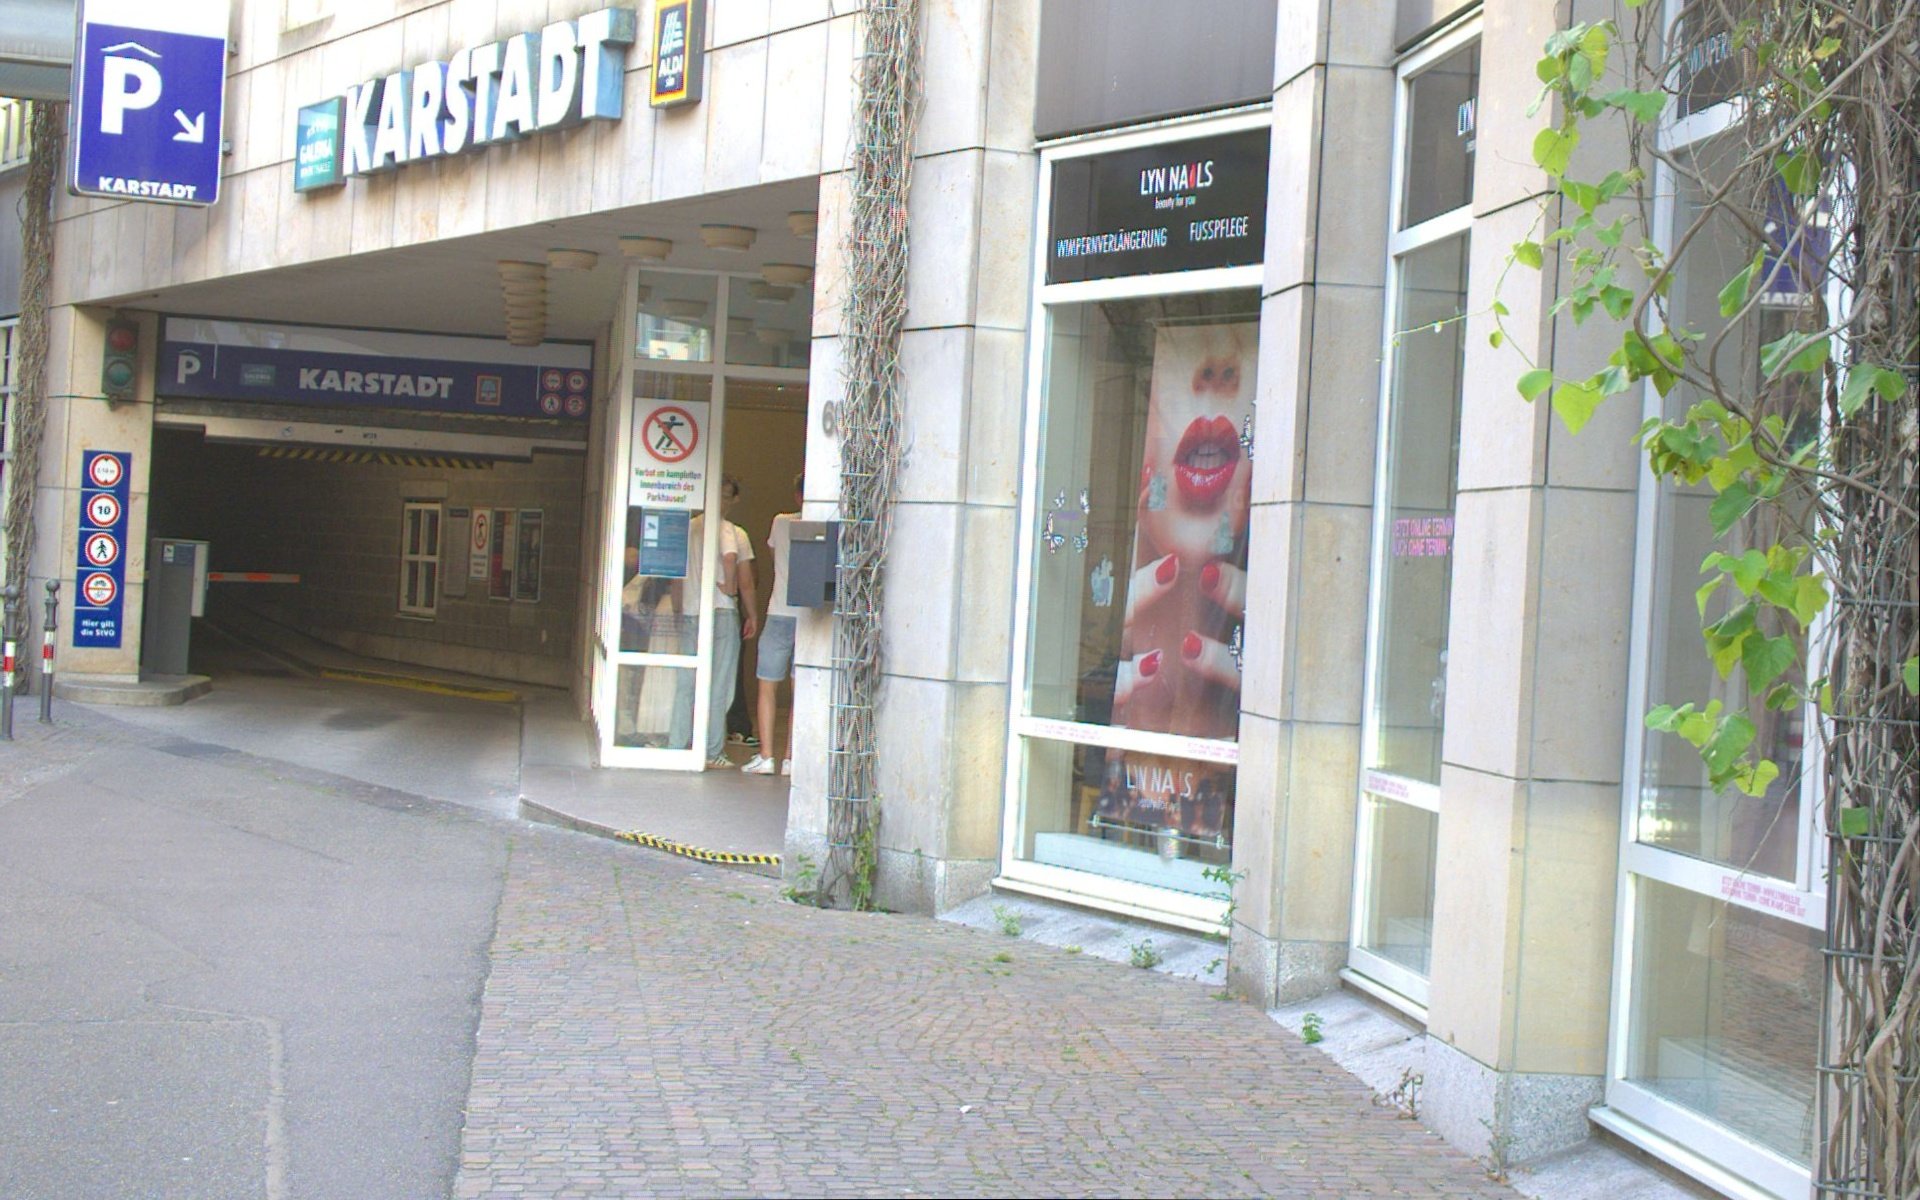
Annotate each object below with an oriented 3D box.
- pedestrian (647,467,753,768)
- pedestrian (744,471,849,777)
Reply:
[{"bbox_3d":[-1.623,0.105,21.518,0.542,1.840,0.408,3,1,-1],"label":"pedestrian"},{"bbox_3d":[-1.011,0.142,21.352,0.542,1.855,0.408,3,1,-1],"label":"pedestrian"}]
